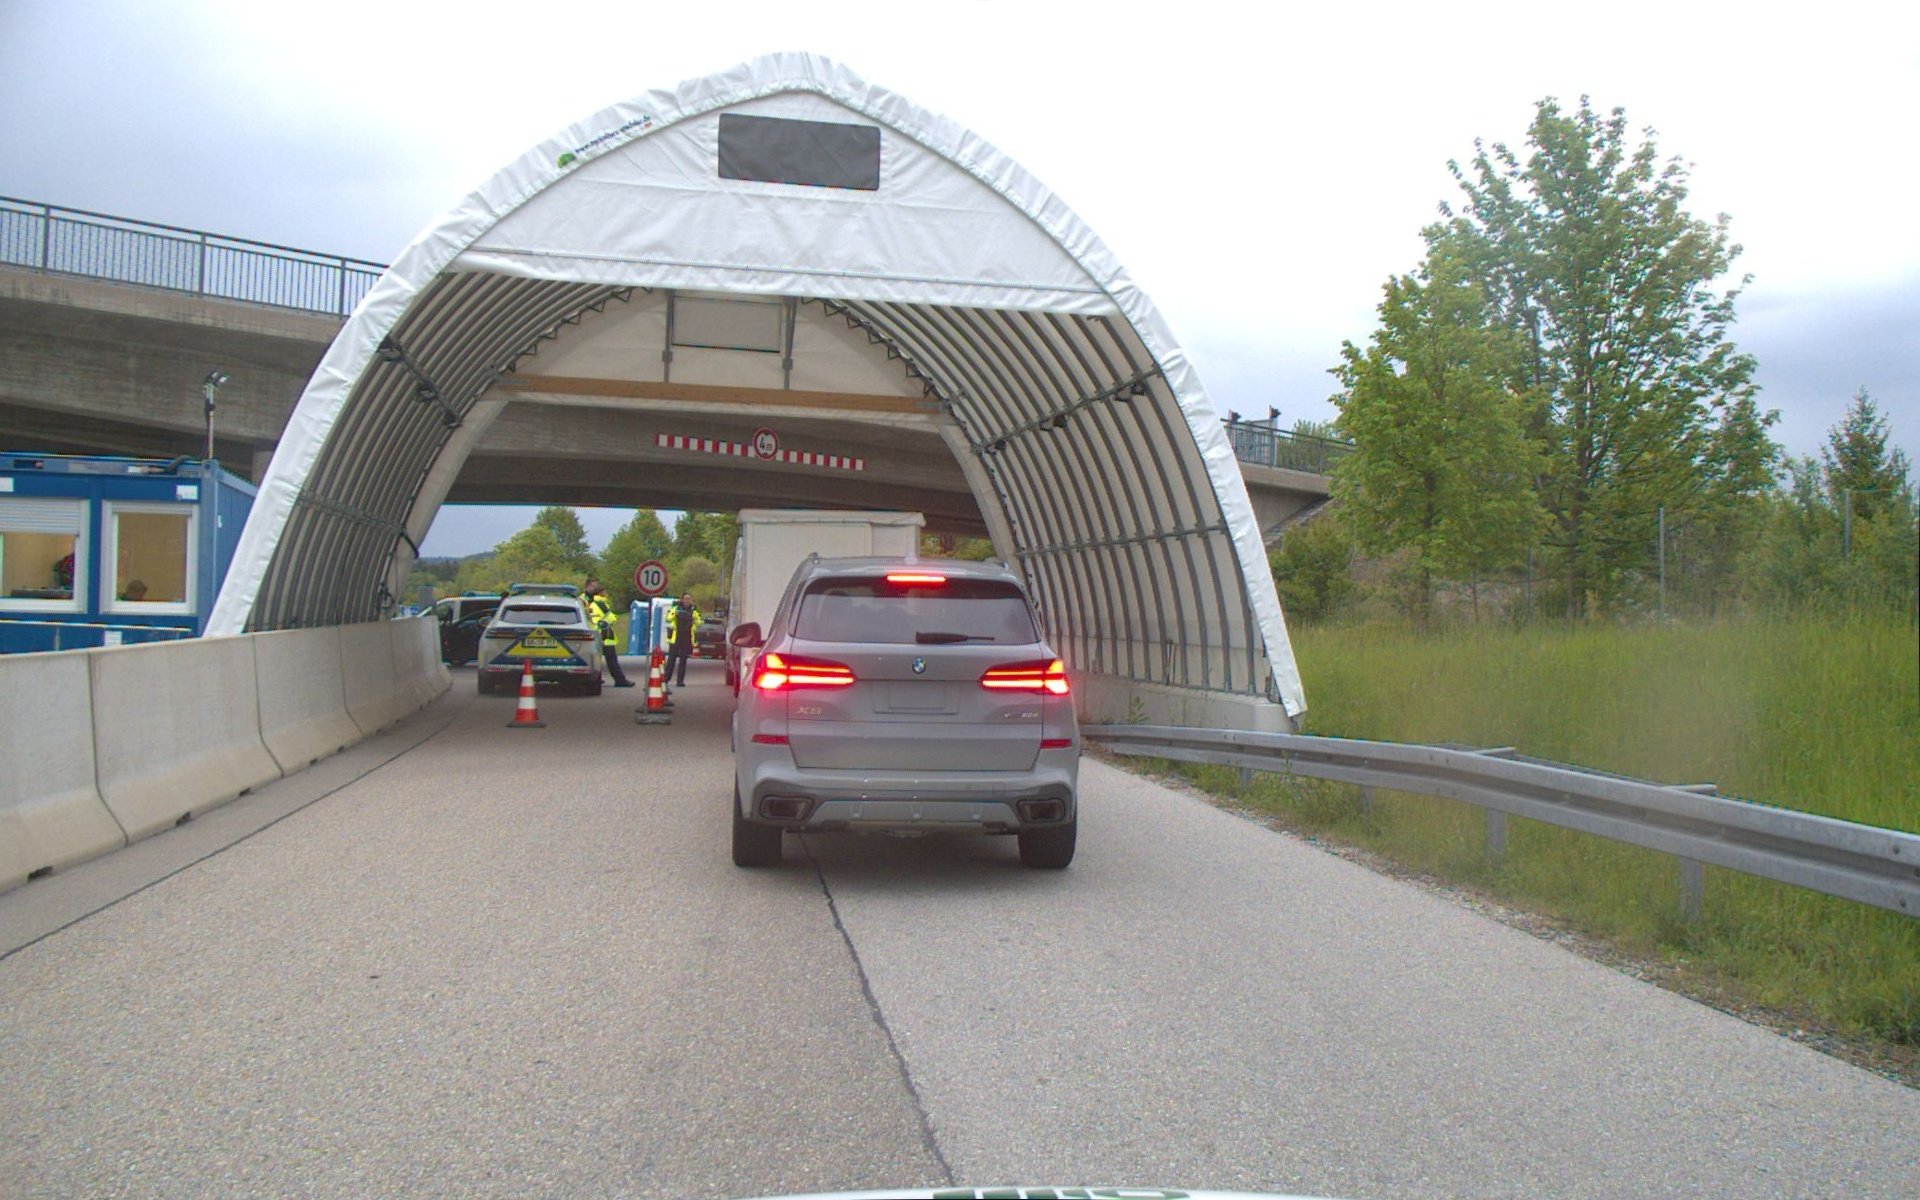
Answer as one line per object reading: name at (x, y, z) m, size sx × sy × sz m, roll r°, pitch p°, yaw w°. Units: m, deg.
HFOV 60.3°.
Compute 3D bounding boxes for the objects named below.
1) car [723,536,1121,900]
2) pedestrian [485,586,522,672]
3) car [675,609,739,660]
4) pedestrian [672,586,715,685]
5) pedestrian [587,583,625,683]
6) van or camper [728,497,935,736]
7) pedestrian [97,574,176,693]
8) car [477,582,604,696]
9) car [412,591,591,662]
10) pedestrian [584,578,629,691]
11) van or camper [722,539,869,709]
car at (-0.457, 0.597, 10.321) m, size 1.957 × 1.796 × 3.991 m, roll 0°, pitch 0°, yaw -9°
pedestrian at (-10.982, 0.686, 39.785) m, size 0.686 × 2.049 × 0.692 m, roll 0°, pitch -1°, yaw -1°
car at (-8.979, 1.187, 58.459) m, size 1.959 × 1.752 × 3.883 m, roll 0°, pitch 0°, yaw -13°
pedestrian at (-4.773, 0.633, 29.628) m, size 0.765 × 1.752 × 0.755 m, roll 0°, pitch -1°, yaw -10°
pedestrian at (-6.382, 0.586, 29.819) m, size 0.597 × 1.784 × 0.665 m, roll 0°, pitch -1°, yaw -6°
van or camper at (-1.860, 0.205, 21.425) m, size 2.189 × 2.597 × 6.597 m, roll 0°, pitch 0°, yaw -9°
pedestrian at (-9.845, 0.396, 19.784) m, size 0.597 × 1.397 × 0.628 m, roll 0°, pitch -1°, yaw 8°
car at (-6.753, 0.591, 26.634) m, size 1.846 × 1.675 × 3.984 m, roll 0°, pitch 0°, yaw -15°
car at (-13.470, 0.770, 48.726) m, size 4.703 × 2.049 × 1.842 m, roll 0°, pitch -1°, yaw 7°
pedestrian at (-6.170, 0.593, 28.828) m, size 0.736 × 1.952 × 0.760 m, roll 0°, pitch -1°, yaw -15°
van or camper at (-2.875, 0.380, 27.762) m, size 2.065 × 2.563 × 5.538 m, roll 0°, pitch 0°, yaw -10°
